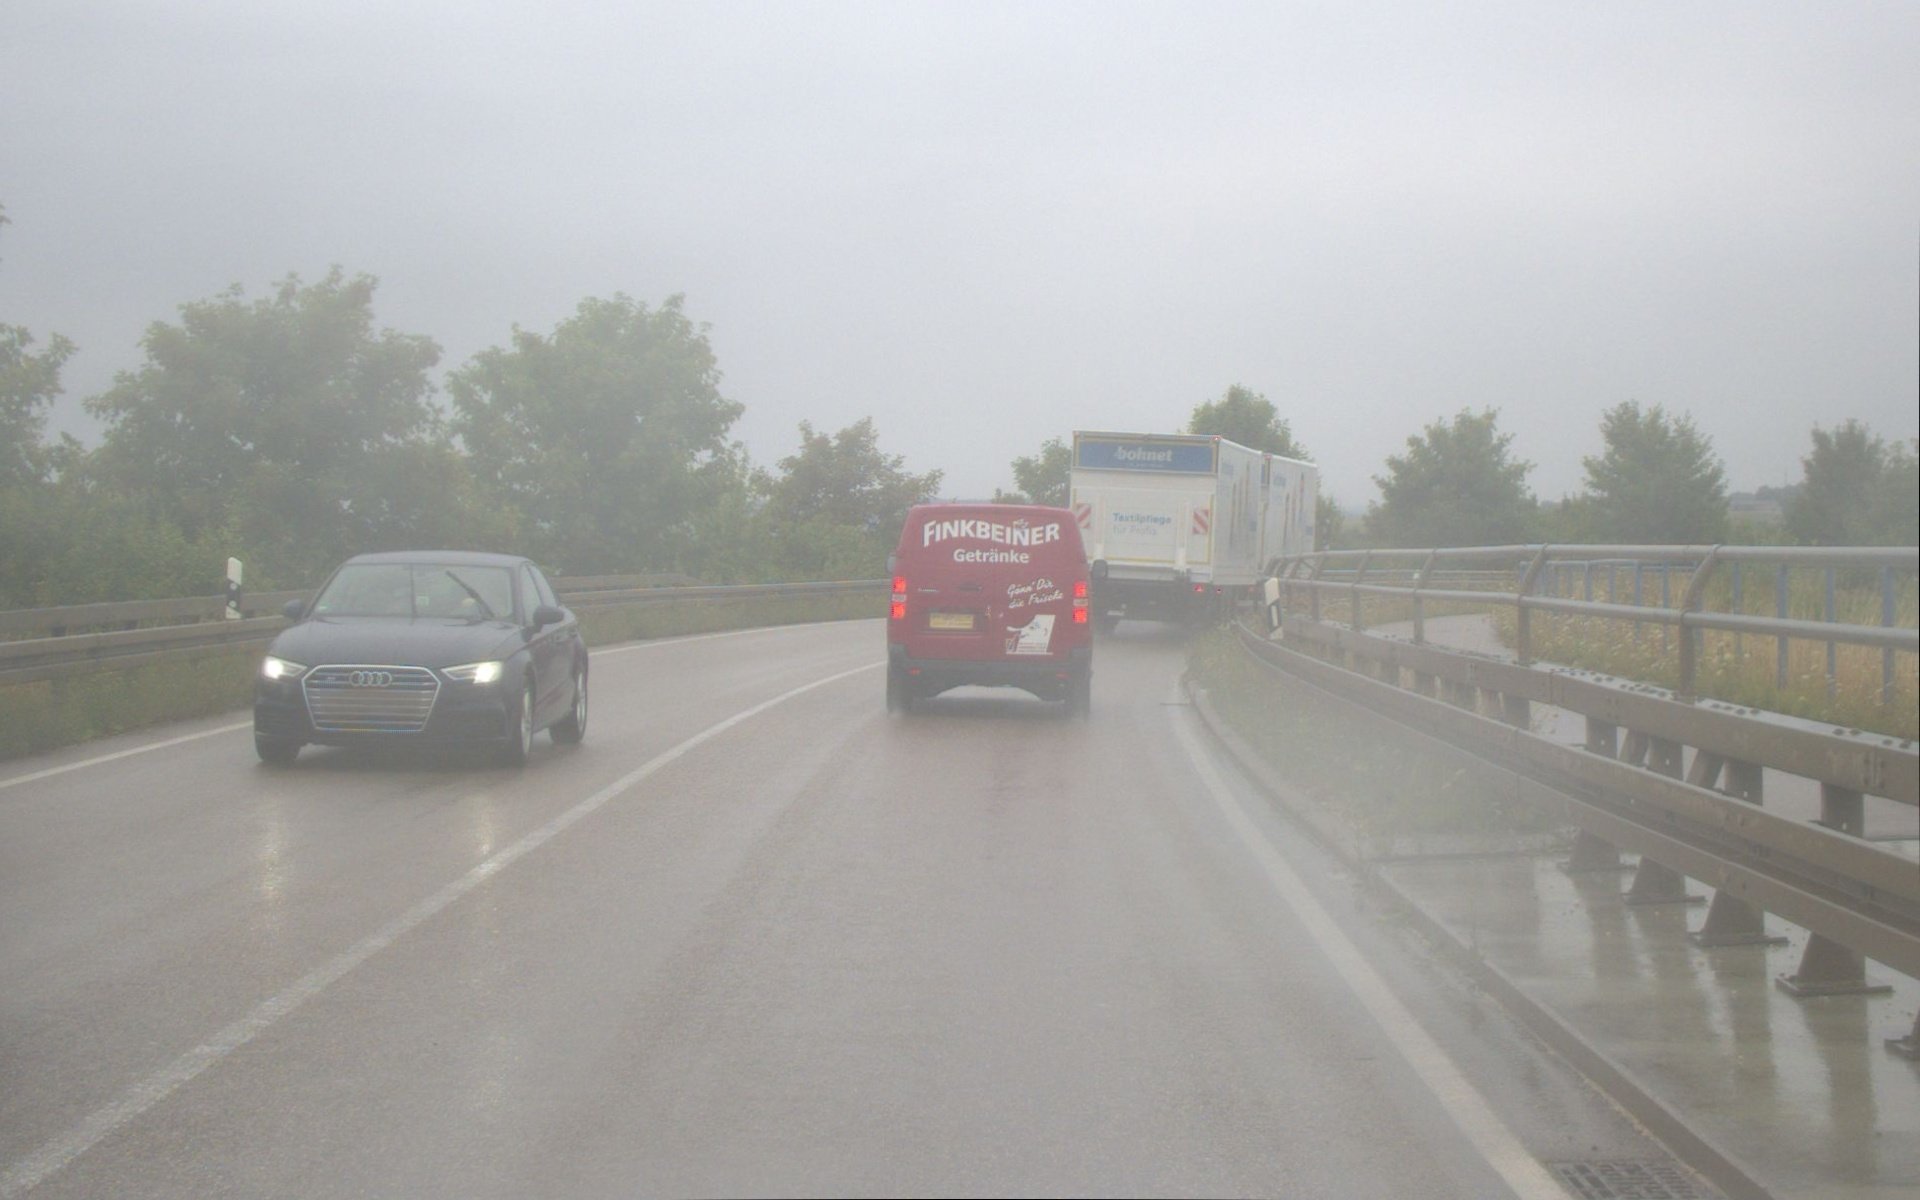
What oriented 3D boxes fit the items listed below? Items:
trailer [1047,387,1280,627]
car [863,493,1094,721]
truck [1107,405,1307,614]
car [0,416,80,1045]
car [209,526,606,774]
[{"bbox_3d":[3.816,-1.645,62.239,3.202,3.908,8.736,3,1,9],"label":"trailer"},{"bbox_3d":[0.145,-0.001,32.190,1.993,1.919,4.144,1,2,0],"label":"car"},{"bbox_3d":[5.206,-1.826,70.882,3.202,3.908,8.736,3,1,9],"label":"truck"},{"bbox_3d":[-3.877,0.431,8.375,2.066,1.830,4.931,-1,1,2],"label":"car"},{"bbox_3d":[-3.698,0.275,23.727,1.839,1.532,4.069,0,1,4],"label":"car"}]
